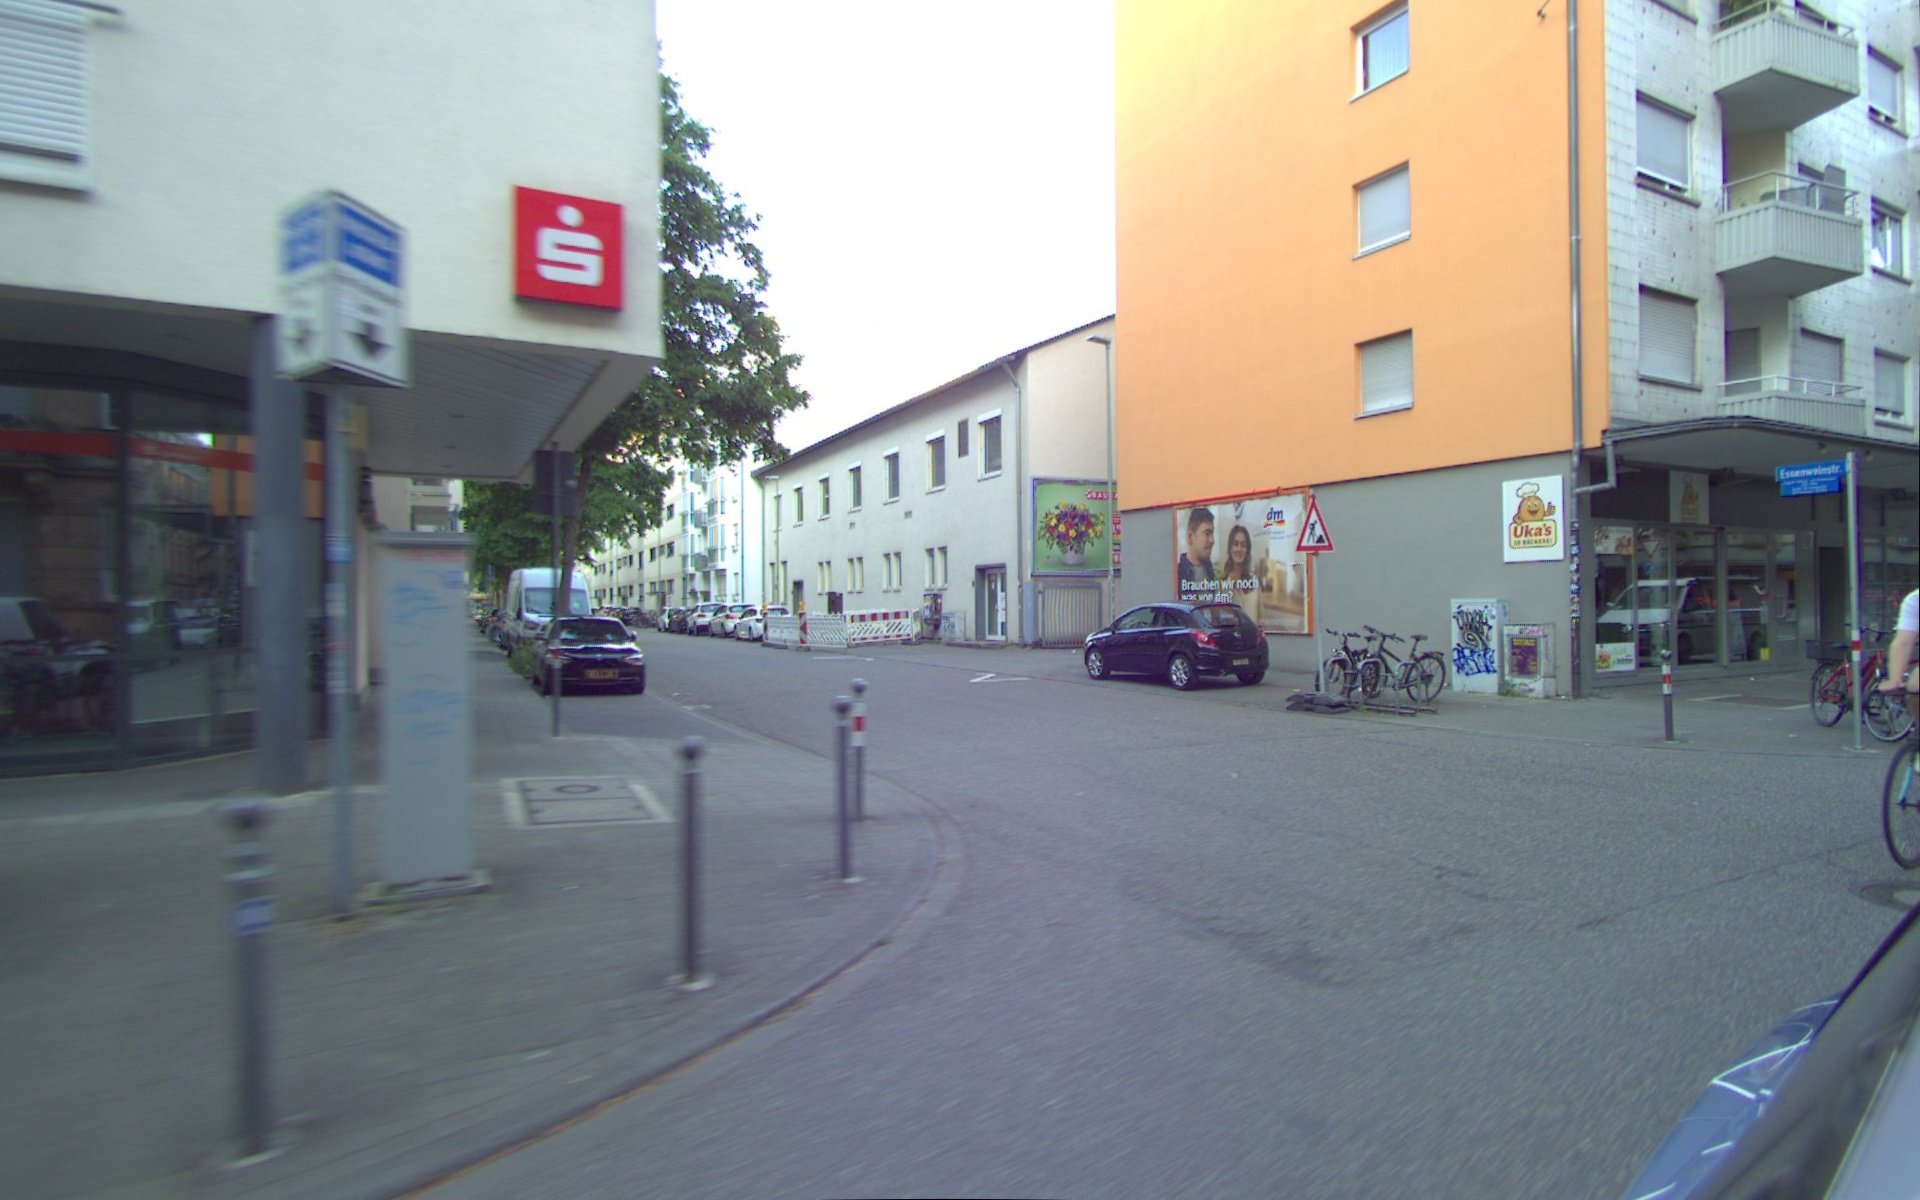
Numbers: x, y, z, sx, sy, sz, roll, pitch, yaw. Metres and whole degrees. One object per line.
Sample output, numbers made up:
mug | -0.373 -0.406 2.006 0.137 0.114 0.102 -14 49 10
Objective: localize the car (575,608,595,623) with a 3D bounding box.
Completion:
car | -39.202 1.654 105.755 1.558 1.490 3.600 -2 0 -25

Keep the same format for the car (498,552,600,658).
car | -12.260 0.203 29.899 2.033 2.769 6.791 2 -2 -28

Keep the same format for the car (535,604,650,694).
car | -6.956 0.843 18.893 1.754 1.451 4.254 2 -1 -23

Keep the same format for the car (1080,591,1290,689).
car | 3.865 0.643 18.003 1.671 1.494 3.685 -2 0 -26

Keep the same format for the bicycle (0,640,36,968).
bicycle | -4.382 0.805 4.297 0.568 1.145 1.726 -2 2 -39

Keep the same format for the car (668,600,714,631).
car | -14.889 0.854 55.806 1.791 1.571 3.800 -2 0 -25

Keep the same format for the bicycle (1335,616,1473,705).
bicycle | 6.135 0.804 13.955 1.923 1.080 0.565 -2 1 -23

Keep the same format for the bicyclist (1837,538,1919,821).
bicyclist | 5.585 0.412 5.670 0.934 1.528 0.651 -2 -1 -26

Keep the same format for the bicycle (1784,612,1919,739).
bicycle | 9.830 0.754 10.826 0.646 1.148 1.941 0 2 9

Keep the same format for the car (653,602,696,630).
car | -17.116 0.951 60.518 1.878 1.571 3.800 -2 0 -25

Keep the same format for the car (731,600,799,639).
car | -8.049 0.780 41.458 1.773 1.438 4.139 -2 0 -24

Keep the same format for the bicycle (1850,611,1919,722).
bicycle | 10.771 0.747 11.020 0.646 1.148 1.941 0 2 9

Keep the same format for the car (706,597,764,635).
car | -10.396 0.726 46.608 1.837 1.615 3.759 -2 0 -24

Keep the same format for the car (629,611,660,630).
car | -22.092 1.447 70.799 1.515 1.214 3.520 -2 0 -25

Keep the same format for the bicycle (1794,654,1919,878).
bicycle | 5.581 0.856 5.662 1.879 1.031 0.659 -2 -1 -26

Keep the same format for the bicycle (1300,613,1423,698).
bicycle | 5.765 0.775 14.515 1.721 1.080 0.565 -2 1 -23

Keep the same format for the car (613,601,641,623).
car | -25.466 0.926 77.349 1.558 1.560 3.600 -2 0 -25

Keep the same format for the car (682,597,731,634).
car | -12.882 0.770 51.228 1.807 1.759 3.752 -2 0 -23
